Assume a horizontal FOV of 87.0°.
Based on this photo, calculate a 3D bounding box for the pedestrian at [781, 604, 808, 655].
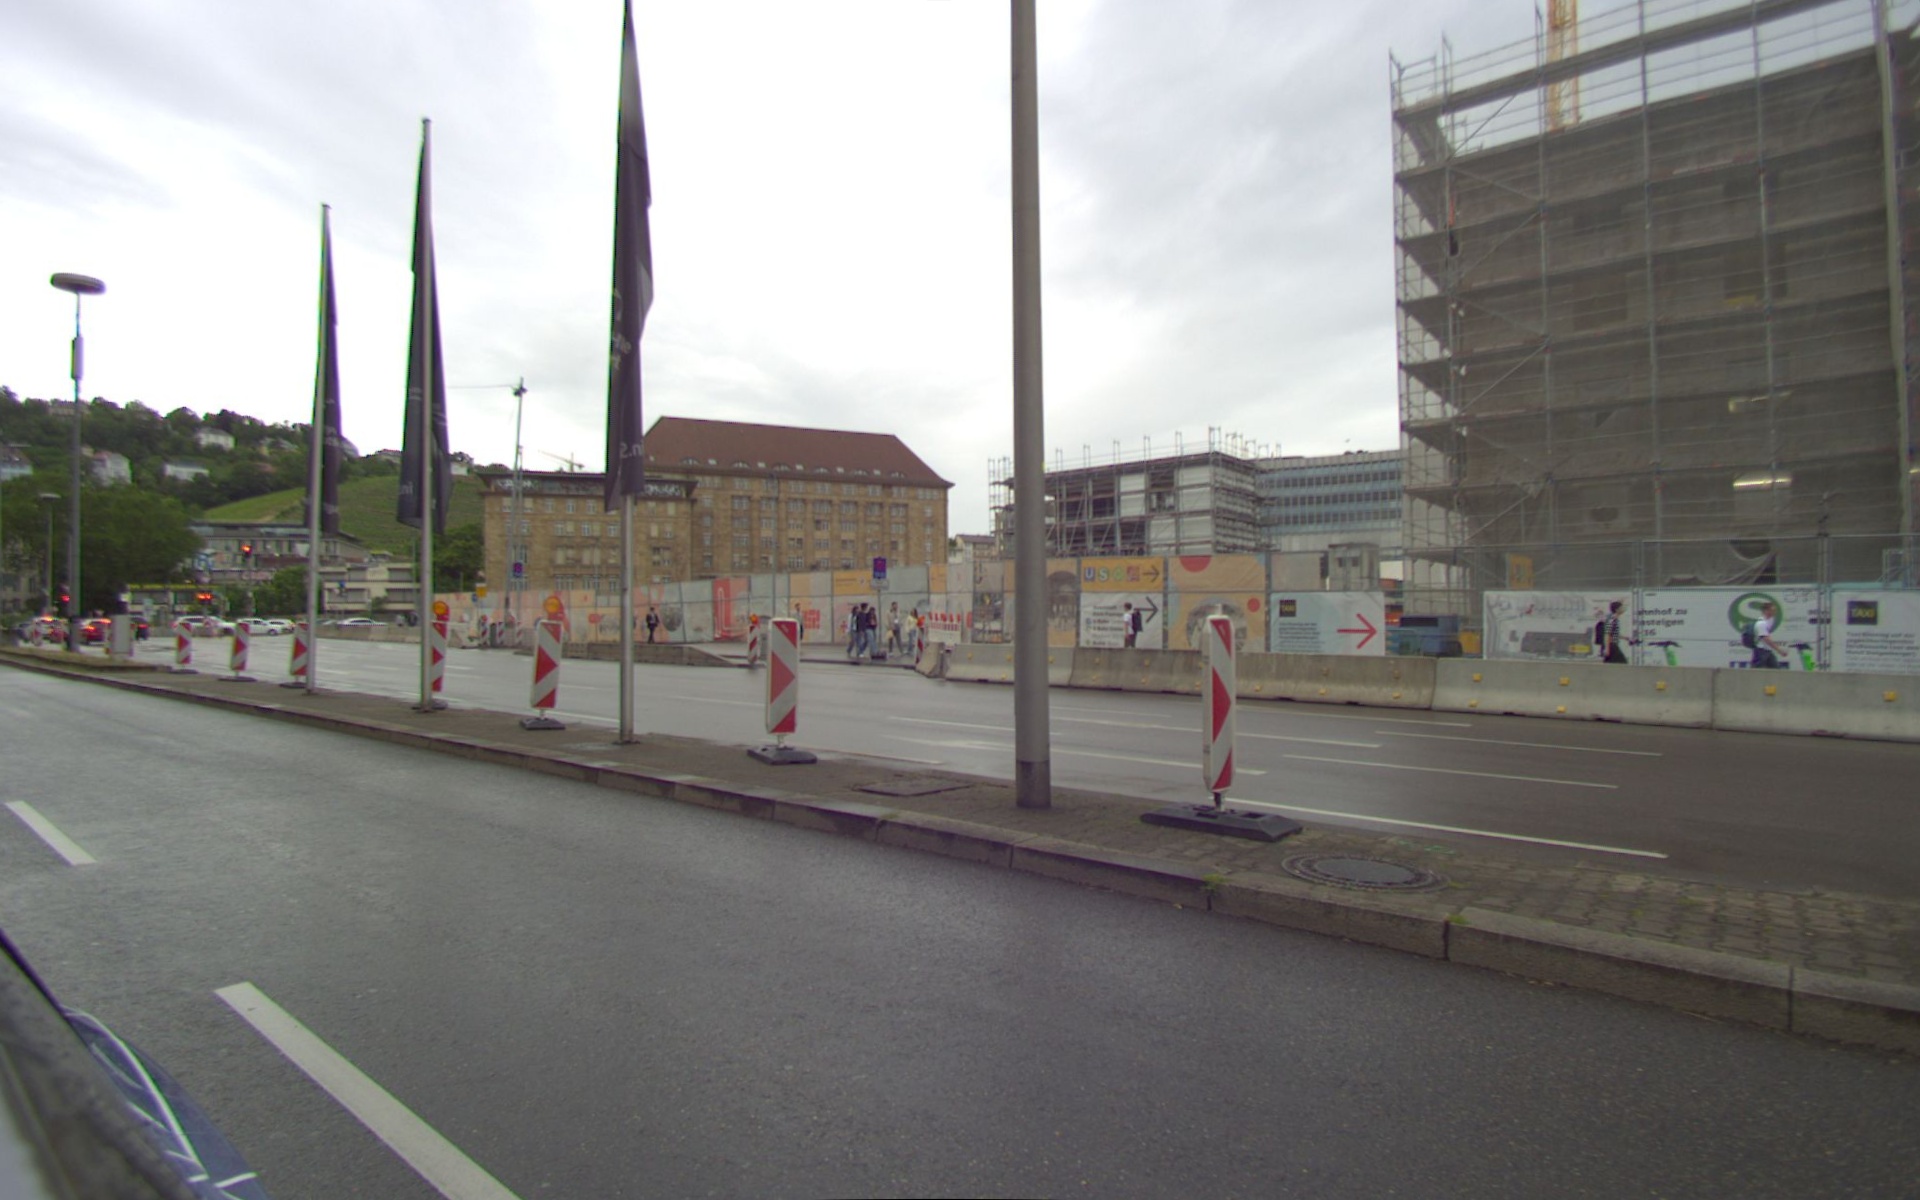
[{"bbox_3d":[-6.072,1.064,37.155,0.720,1.850,0.656,-1,0,41],"label":"pedestrian"}]

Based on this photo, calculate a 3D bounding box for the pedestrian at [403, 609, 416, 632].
[{"bbox_3d":[-39.479,1.461,72.580,0.705,1.628,0.544,-1,0,-45],"label":"pedestrian"}]

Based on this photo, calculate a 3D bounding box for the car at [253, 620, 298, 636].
[{"bbox_3d":[-72.470,2.964,107.165,3.934,1.644,2.005,0,-1,-36],"label":"car"}]

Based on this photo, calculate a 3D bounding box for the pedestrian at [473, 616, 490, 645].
[{"bbox_3d":[-28.006,1.772,59.261,0.544,1.628,0.706,-1,0,41],"label":"pedestrian"}]

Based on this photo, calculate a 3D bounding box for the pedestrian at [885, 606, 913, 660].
[{"bbox_3d":[-2.022,1.090,33.551,0.704,1.757,0.565,-1,0,-29],"label":"pedestrian"}]

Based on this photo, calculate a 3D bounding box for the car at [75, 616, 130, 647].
[{"bbox_3d":[-48.954,1.792,57.762,3.914,1.707,1.762,-1,-2,41],"label":"car"}]

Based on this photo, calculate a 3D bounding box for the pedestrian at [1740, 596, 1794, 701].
[{"bbox_3d":[14.591,0.865,18.298,0.717,1.850,0.475,-1,0,41],"label":"pedestrian"}]

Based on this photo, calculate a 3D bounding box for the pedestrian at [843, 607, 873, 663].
[{"bbox_3d":[-3.285,1.109,32.567,0.704,1.746,0.719,-1,0,-31],"label":"pedestrian"}]

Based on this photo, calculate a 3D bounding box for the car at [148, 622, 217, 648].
[{"bbox_3d":[-64.039,2.853,83.485,4.328,2.029,2.006,-1,0,-33],"label":"car"}]

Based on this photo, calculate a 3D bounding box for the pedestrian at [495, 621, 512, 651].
[{"bbox_3d":[-25.401,1.996,56.330,0.544,1.628,0.706,-1,0,41],"label":"pedestrian"}]

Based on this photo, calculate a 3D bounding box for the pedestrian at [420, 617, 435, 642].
[{"bbox_3d":[-35.662,1.991,67.761,0.544,1.628,0.706,-1,0,41],"label":"pedestrian"}]

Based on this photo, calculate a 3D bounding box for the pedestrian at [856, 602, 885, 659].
[{"bbox_3d":[-2.979,1.005,33.700,0.704,1.850,0.719,-1,0,-31],"label":"pedestrian"}]

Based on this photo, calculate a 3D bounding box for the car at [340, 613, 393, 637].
[{"bbox_3d":[-52.400,2.170,89.323,3.932,2.029,2.006,-1,0,-33],"label":"car"}]

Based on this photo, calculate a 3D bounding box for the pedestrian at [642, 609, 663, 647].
[{"bbox_3d":[-13.578,1.220,44.712,0.544,1.628,0.706,-1,0,41],"label":"pedestrian"}]

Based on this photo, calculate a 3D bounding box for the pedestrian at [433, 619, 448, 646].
[{"bbox_3d":[-32.755,2.041,63.783,0.544,1.628,0.706,-1,0,41],"label":"pedestrian"}]

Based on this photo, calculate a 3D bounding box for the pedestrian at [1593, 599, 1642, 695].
[{"bbox_3d":[12.988,0.910,19.996,0.717,1.850,0.579,-1,0,41],"label":"pedestrian"}]

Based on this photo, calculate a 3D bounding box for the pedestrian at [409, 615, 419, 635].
[{"bbox_3d":[-44.817,2.069,83.079,0.704,1.628,0.546,-1,0,-25],"label":"pedestrian"}]

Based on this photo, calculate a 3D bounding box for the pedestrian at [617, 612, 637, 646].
[{"bbox_3d":[-16.234,1.384,49.363,0.544,1.628,0.706,-1,0,41],"label":"pedestrian"}]

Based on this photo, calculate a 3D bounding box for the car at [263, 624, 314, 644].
[{"bbox_3d":[-69.703,3.535,105.056,4.136,1.871,1.833,-1,0,-44],"label":"car"}]

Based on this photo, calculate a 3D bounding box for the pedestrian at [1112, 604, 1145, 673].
[{"bbox_3d":[4.640,1.049,27.861,0.717,1.850,0.475,-1,0,41],"label":"pedestrian"}]

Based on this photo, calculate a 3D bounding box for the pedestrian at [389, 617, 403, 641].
[{"bbox_3d":[-40.061,2.047,71.903,0.705,1.628,0.544,-1,0,-45],"label":"pedestrian"}]

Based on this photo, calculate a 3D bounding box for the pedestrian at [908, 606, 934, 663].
[{"bbox_3d":[-1.302,1.139,33.764,0.651,1.850,0.557,-1,0,-29],"label":"pedestrian"}]

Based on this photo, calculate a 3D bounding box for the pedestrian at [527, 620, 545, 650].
[{"bbox_3d":[-23.222,1.917,55.402,0.544,1.628,0.706,-1,0,41],"label":"pedestrian"}]

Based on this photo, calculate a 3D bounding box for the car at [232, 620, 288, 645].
[{"bbox_3d":[-61.584,2.807,89.083,3.932,2.029,2.006,-1,0,-33],"label":"car"}]

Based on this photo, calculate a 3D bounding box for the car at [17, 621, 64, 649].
[{"bbox_3d":[-60.092,2.251,66.125,3.913,1.707,1.763,-1,0,39],"label":"car"}]

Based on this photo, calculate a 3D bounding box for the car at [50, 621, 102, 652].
[{"bbox_3d":[-53.352,2.178,61.053,3.913,1.707,1.763,-1,0,39],"label":"car"}]
